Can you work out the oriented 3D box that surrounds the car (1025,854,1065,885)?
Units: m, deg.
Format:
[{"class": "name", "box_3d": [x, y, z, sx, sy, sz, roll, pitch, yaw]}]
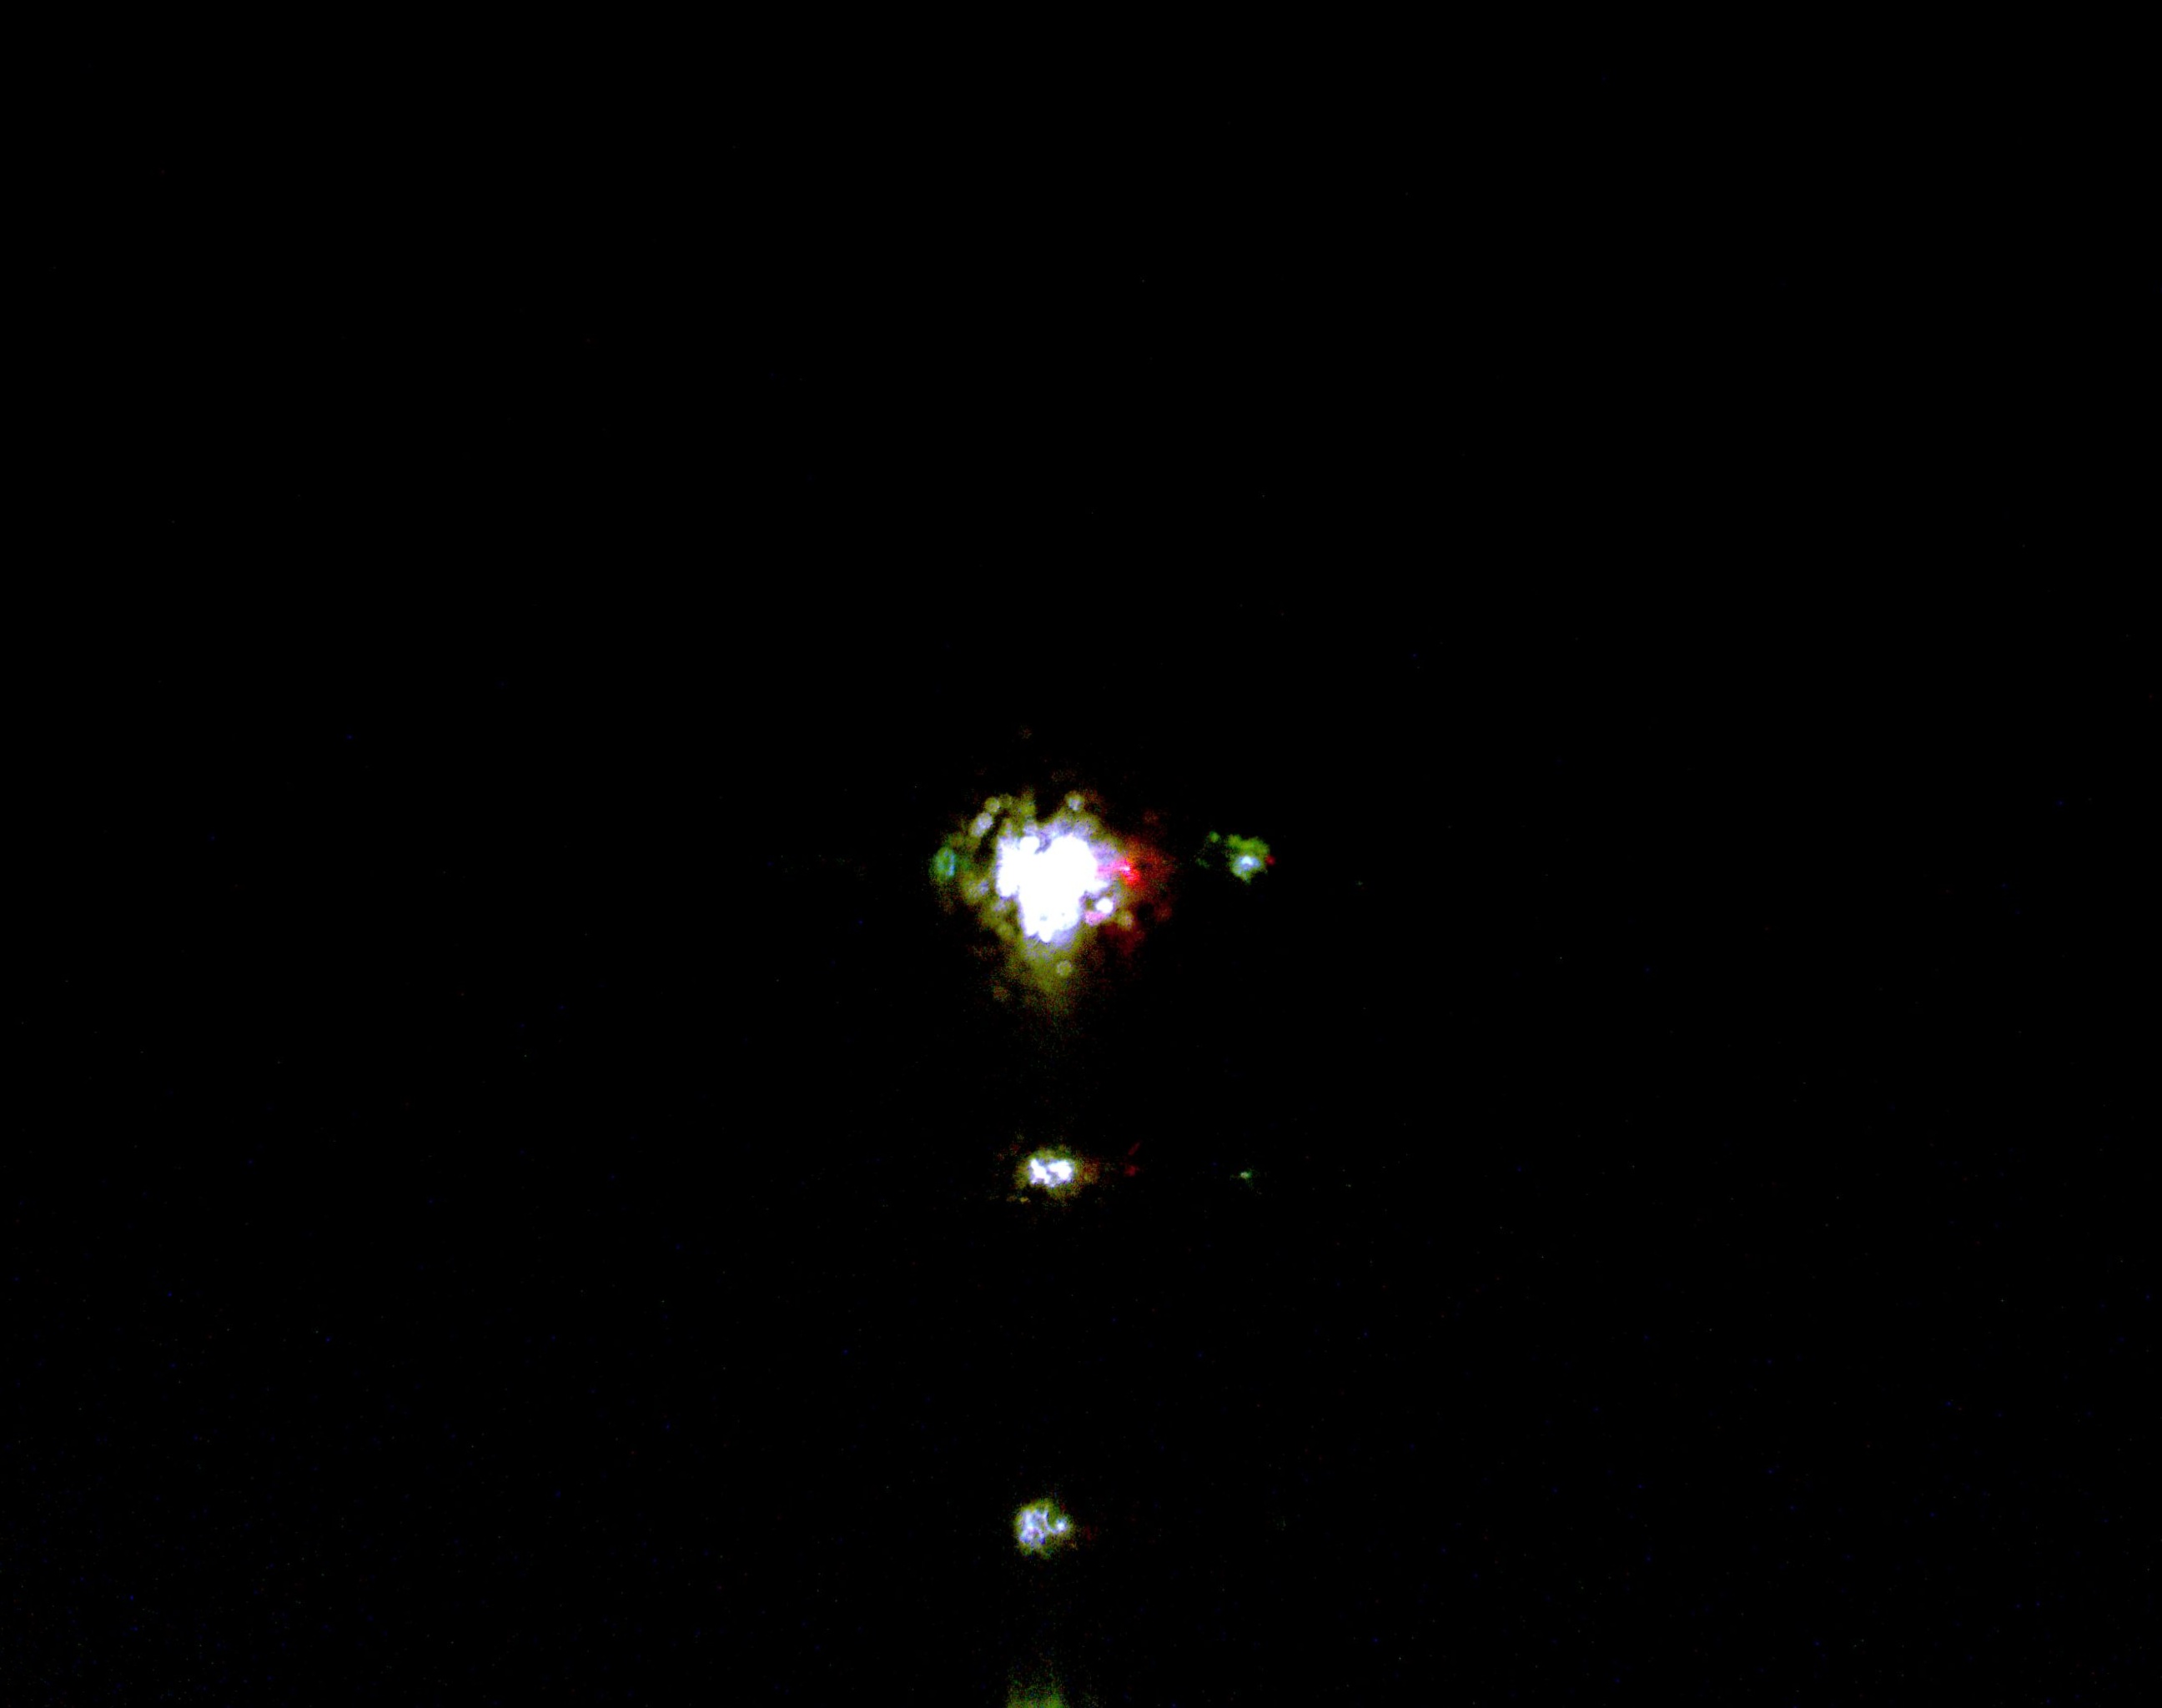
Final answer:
[{"class": "car", "box_3d": [-1.944, 0.838, 45.175, 1.892, 1.644, 3.793, 0, 0, 2]}]

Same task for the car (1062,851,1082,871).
[{"class": "car", "box_3d": [-0.805, 0.621, 73.419, 1.785, 1.691, 3.998, 0, 0, -1]}]

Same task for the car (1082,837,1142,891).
[{"class": "car", "box_3d": [0.958, 0.314, 27.090, 1.803, 1.621, 3.999, -1, 0, 0]}]
